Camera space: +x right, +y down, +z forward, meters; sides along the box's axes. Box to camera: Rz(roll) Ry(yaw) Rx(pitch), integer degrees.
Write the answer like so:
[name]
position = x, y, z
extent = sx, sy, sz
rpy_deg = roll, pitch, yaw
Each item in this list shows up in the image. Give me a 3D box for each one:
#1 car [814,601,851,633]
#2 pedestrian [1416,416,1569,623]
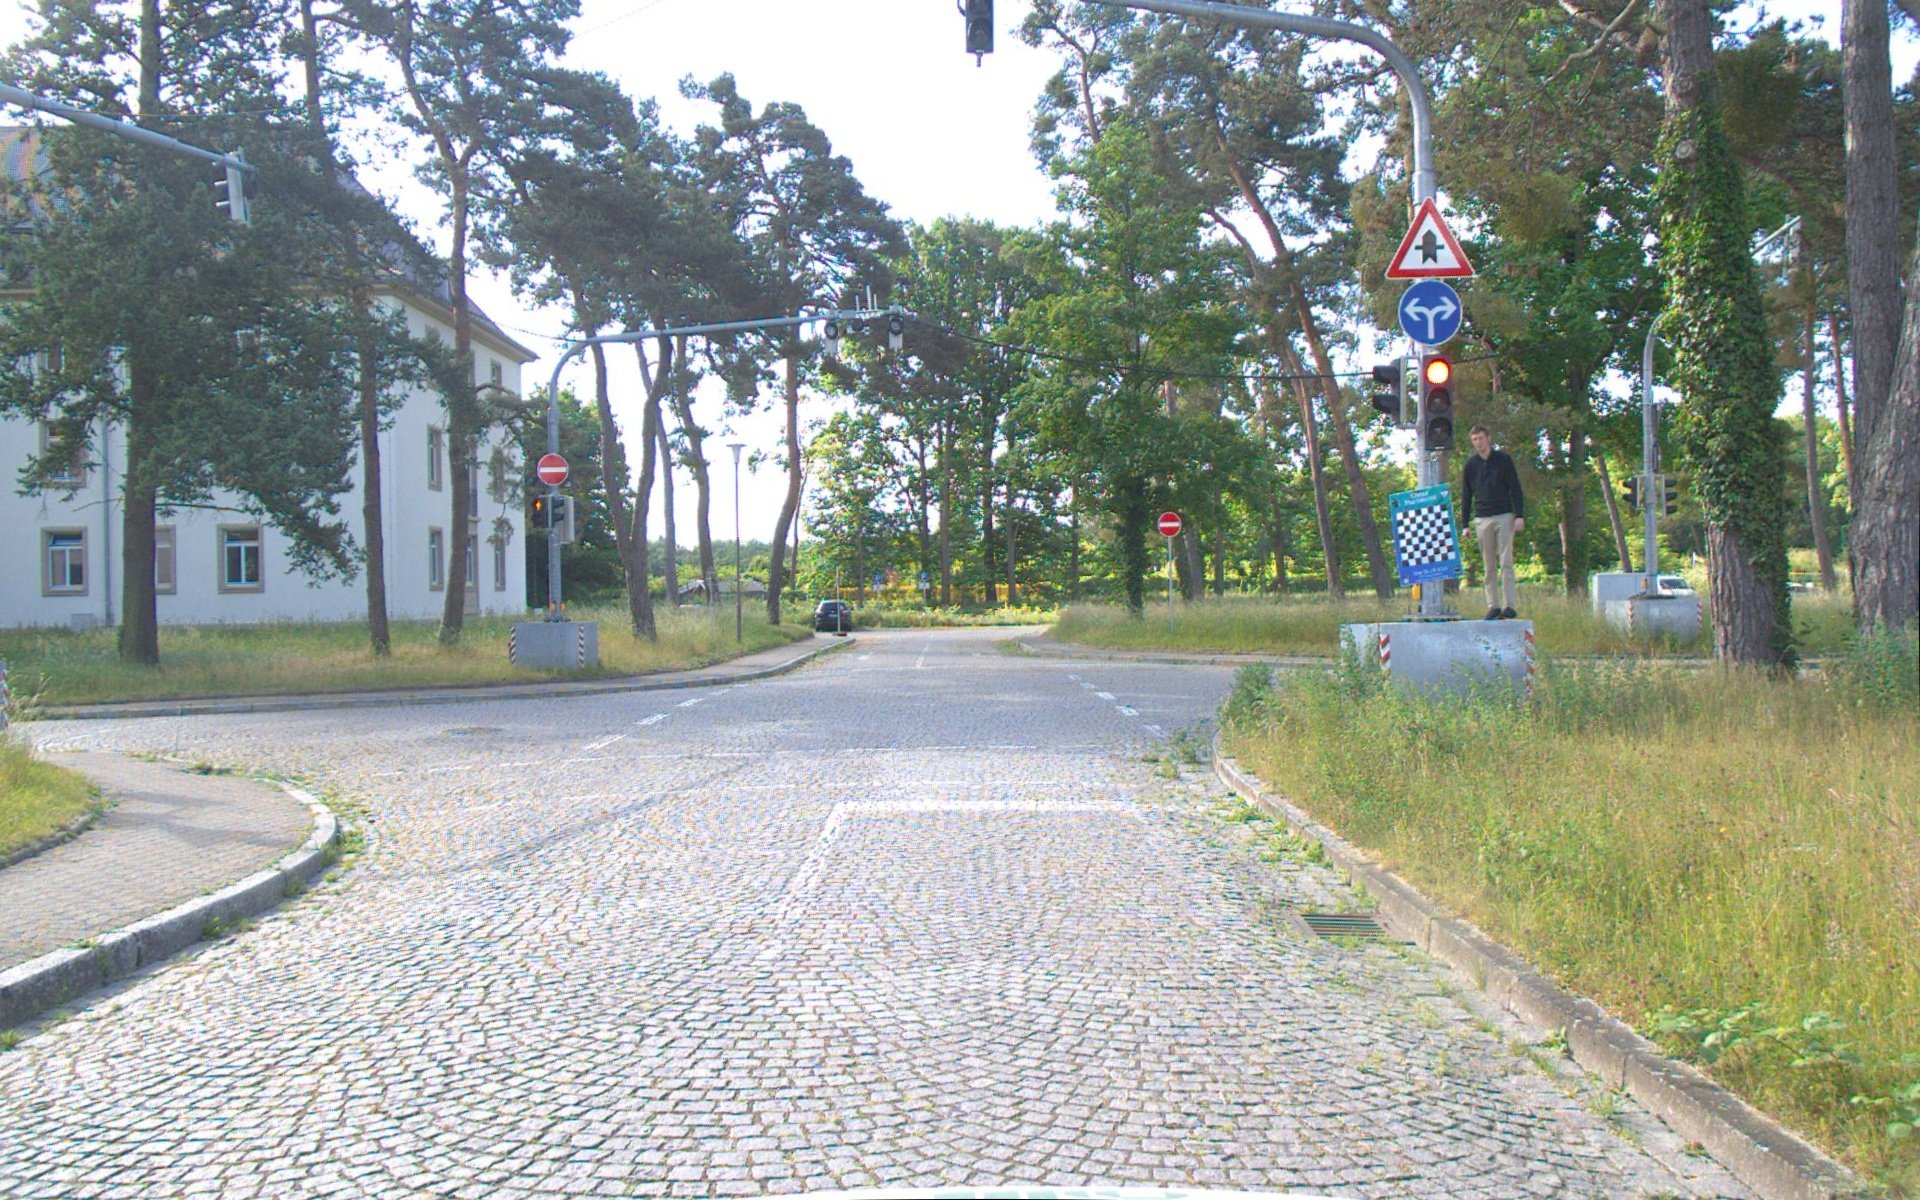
[car]
position = -6.381, 0.819, 83.071
extent = 1.675, 1.522, 3.917
rpy_deg = -1, 0, -3
[pedestrian]
position = 5.010, -0.725, 15.536
extent = 1.146, 1.827, 1.061
rpy_deg = -2, 0, 29
